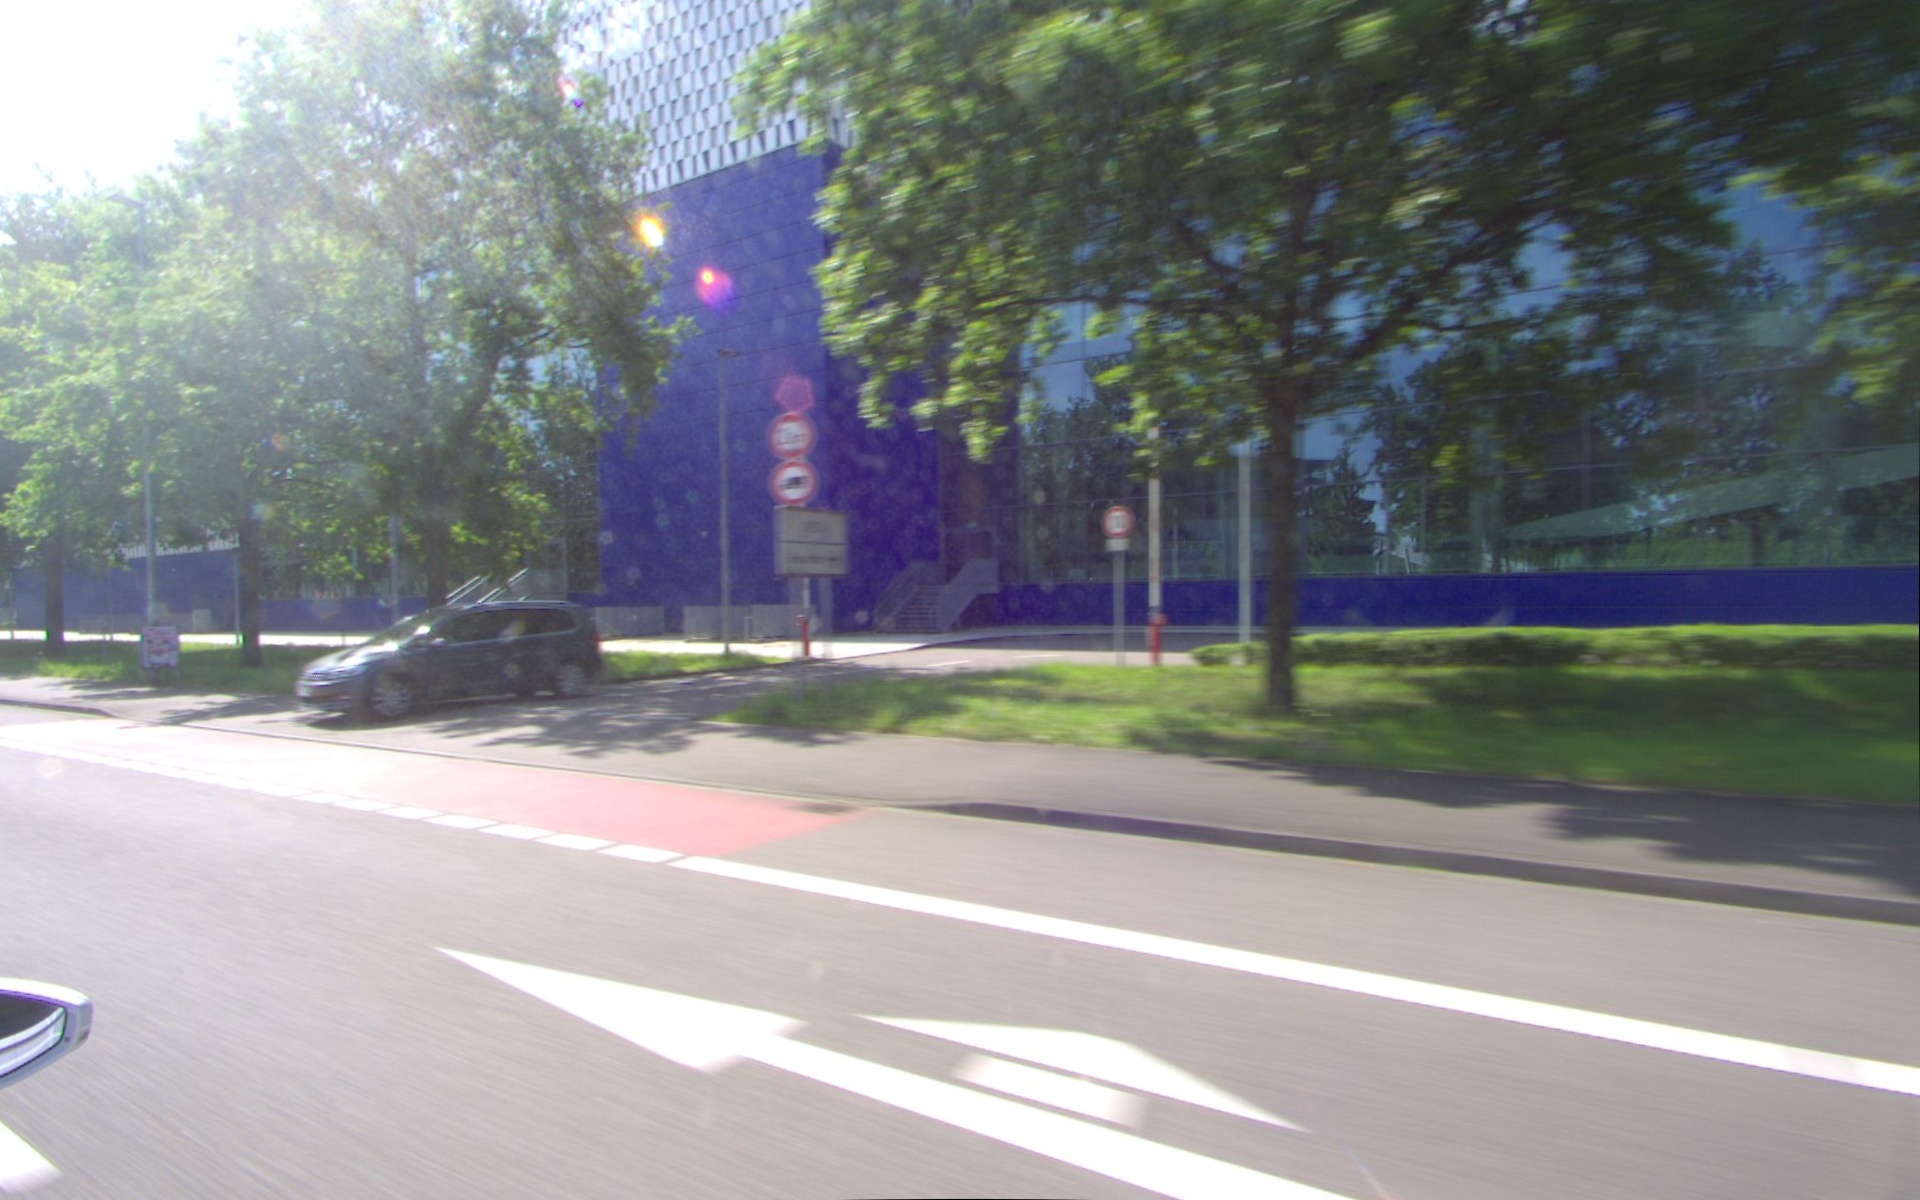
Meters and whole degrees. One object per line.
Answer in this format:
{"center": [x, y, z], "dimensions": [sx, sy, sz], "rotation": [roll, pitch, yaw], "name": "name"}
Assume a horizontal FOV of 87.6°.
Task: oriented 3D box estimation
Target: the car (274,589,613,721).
{"center": [-8.031, 0.745, 15.956], "dimensions": [1.822, 1.716, 4.424], "rotation": [0, 1, 39], "name": "car"}
